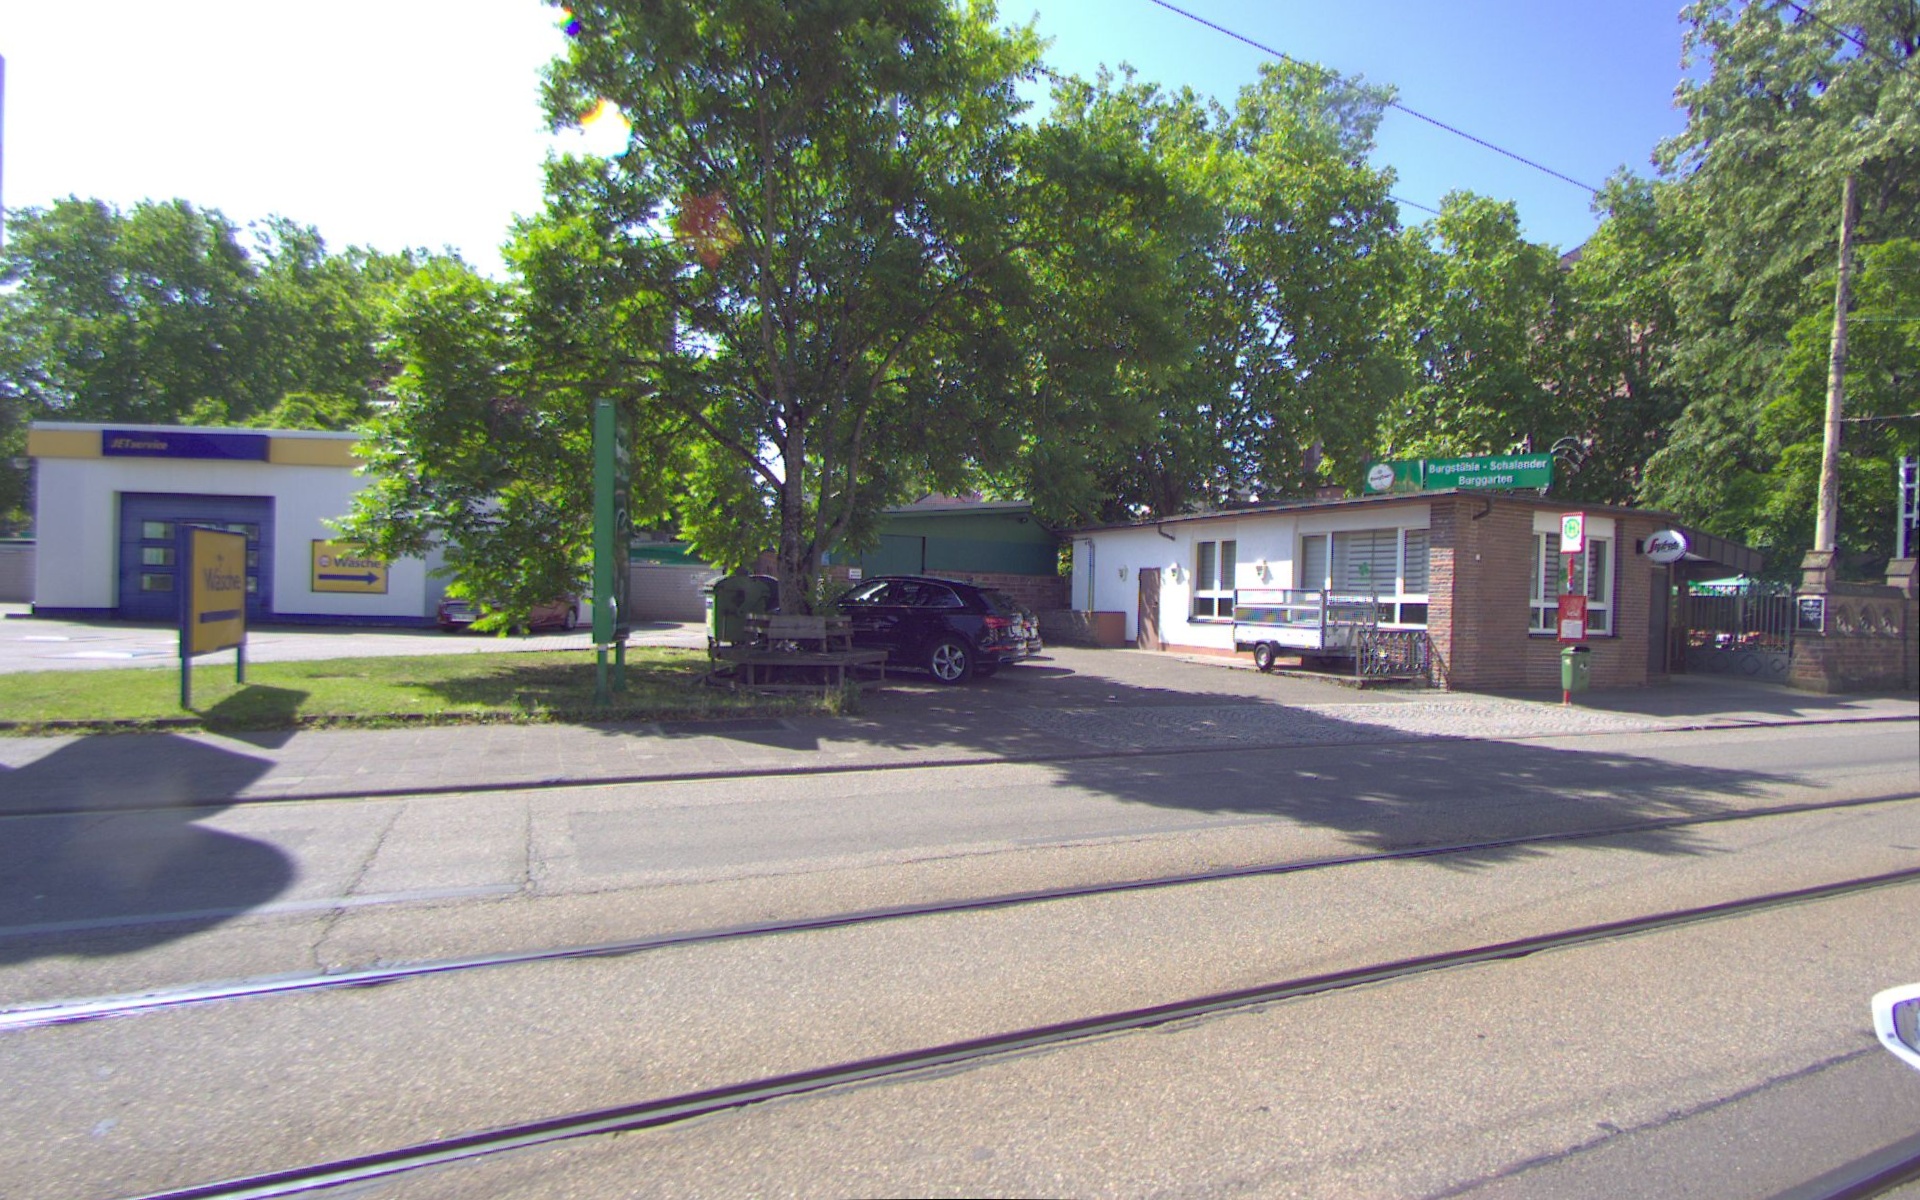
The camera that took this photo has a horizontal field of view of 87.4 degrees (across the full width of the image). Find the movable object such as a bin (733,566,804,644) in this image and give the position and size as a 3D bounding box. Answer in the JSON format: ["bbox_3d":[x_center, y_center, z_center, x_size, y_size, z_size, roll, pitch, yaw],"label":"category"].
[{"bbox_3d":[-3.923,0.104,20.697,1.354,1.522,1.420,1,1,-9],"label":"movable object such as a bin"}]

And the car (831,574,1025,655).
[{"bbox_3d":[-0.691,0.282,22.451,3.921,1.578,1.847,2,1,19],"label":"car"}]

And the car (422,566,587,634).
[{"bbox_3d":[-10.878,-0.025,24.405,1.855,1.480,4.556,1,0,1],"label":"car"}]

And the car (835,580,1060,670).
[{"bbox_3d":[-0.208,0.429,19.375,3.921,1.493,1.847,2,1,19],"label":"car"}]

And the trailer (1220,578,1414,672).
[{"bbox_3d":[6.748,0.427,19.300,1.699,1.624,3.265,2,1,-24],"label":"trailer"}]

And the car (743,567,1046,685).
[{"bbox_3d":[-1.056,0.364,16.677,4.567,1.662,2.020,2,1,19],"label":"car"}]

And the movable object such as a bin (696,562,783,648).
[{"bbox_3d":[-4.147,0.088,18.788,1.359,1.522,1.414,1,1,-22],"label":"movable object such as a bin"}]
